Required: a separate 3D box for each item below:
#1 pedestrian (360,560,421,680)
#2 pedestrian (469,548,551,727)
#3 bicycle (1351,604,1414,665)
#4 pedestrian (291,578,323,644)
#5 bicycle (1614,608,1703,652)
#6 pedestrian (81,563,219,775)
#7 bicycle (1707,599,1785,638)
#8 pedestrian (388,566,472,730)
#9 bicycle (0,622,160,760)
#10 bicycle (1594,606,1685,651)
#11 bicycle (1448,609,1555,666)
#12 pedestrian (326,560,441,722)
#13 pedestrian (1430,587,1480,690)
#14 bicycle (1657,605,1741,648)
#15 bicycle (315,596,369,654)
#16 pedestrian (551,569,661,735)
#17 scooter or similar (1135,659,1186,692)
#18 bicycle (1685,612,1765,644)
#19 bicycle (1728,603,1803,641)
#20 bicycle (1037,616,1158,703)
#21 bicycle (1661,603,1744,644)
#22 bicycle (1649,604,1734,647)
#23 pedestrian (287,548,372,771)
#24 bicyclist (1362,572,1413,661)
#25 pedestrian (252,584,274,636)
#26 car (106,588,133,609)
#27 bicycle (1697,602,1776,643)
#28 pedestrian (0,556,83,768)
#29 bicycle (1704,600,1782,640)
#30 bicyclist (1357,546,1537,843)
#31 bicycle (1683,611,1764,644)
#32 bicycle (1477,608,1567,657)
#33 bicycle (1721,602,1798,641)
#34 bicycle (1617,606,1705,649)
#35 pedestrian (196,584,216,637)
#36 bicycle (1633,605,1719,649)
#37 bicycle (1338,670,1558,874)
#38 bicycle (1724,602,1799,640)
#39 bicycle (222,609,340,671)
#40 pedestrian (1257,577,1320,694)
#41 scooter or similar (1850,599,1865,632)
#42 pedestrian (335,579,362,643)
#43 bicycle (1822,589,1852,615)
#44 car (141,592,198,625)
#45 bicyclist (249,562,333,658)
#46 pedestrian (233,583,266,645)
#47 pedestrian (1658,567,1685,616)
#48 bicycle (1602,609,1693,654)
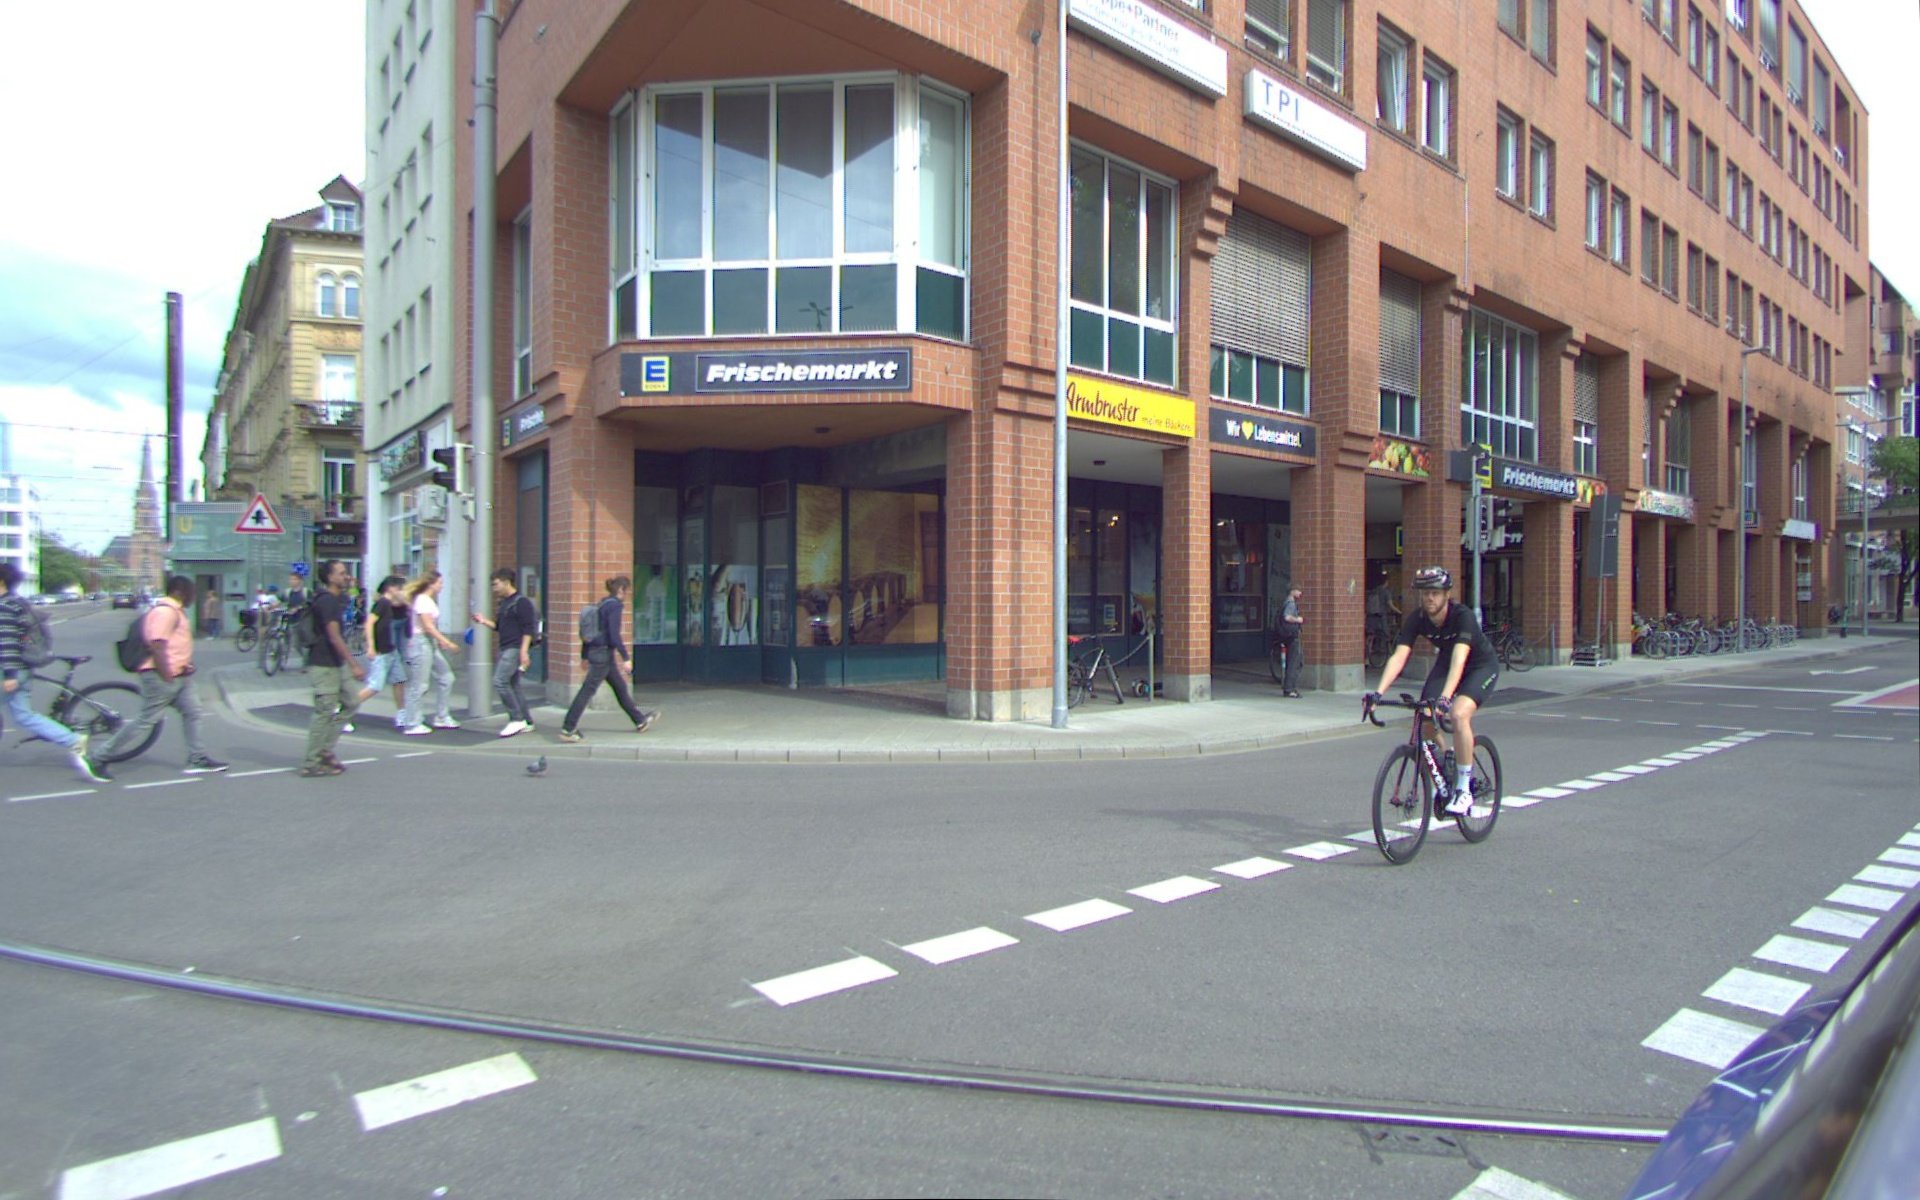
[{"bbox_3d":[-8.855,0.294,15.727,0.693,1.805,0.738,-1,1,-38],"label":"pedestrian"},{"bbox_3d":[-4.823,0.380,10.856,0.683,1.847,0.568,0,0,-39],"label":"pedestrian"},{"bbox_3d":[8.811,0.695,21.062,0.628,1.096,1.724,5,6,42],"label":"bicycle"},{"bbox_3d":[-17.493,0.288,27.128,0.579,1.744,0.521,-1,0,-18],"label":"pedestrian"},{"bbox_3d":[18.228,0.760,26.441,0.525,1.053,1.859,-1,1,-38],"label":"bicycle"},{"bbox_3d":[-6.755,0.538,8.467,0.877,1.672,0.542,0,0,-39],"label":"pedestrian"},{"bbox_3d":[24.639,0.569,31.747,0.525,1.155,1.859,-1,1,-38],"label":"bicycle"},{"bbox_3d":[-5.822,0.497,11.118,0.639,1.709,0.648,-3,2,-39],"label":"pedestrian"},{"bbox_3d":[-8.122,0.788,8.815,1.797,1.124,0.397,-1,1,-38],"label":"bicycle"},{"bbox_3d":[17.196,0.706,25.638,0.498,1.053,1.859,-1,1,-38],"label":"bicycle"},{"bbox_3d":[11.097,0.759,20.778,1.829,1.097,0.630,0,2,1],"label":"bicycle"},{"bbox_3d":[-6.488,0.431,11.391,1.037,1.736,0.648,0,0,-39],"label":"pedestrian"},{"bbox_3d":[8.233,0.627,16.830,0.717,1.652,0.408,-1,2,-31],"label":"pedestrian"},{"bbox_3d":[20.903,0.730,28.662,0.525,1.125,1.859,-1,1,-38],"label":"bicycle"},{"bbox_3d":[-13.788,0.535,22.554,1.800,1.219,0.535,0,0,42],"label":"bicycle"},{"bbox_3d":[-3.631,0.497,10.384,0.905,1.621,0.620,-1,0,-39],"label":"pedestrian"},{"bbox_3d":[2.996,1.121,15.088,0.876,0.424,0.263,0,0,-41],"label":"scooter or similar"},{"bbox_3d":[23.313,0.841,30.870,0.525,0.881,1.859,-1,1,-38],"label":"bicycle"},{"bbox_3d":[26.456,0.705,33.279,0.525,1.155,1.859,-1,1,-38],"label":"bicycle"},{"bbox_3d":[1.903,0.789,13.868,1.666,1.105,0.567,1,1,-35],"label":"bicycle"},{"bbox_3d":[21.412,0.662,29.216,0.525,1.125,1.859,-1,1,-38],"label":"bicycle"},{"bbox_3d":[20.335,0.694,28.171,0.525,1.125,1.859,-1,1,-38],"label":"bicycle"},{"bbox_3d":[-5.382,0.483,8.637,0.551,1.820,0.542,0,0,-39],"label":"pedestrian"},{"bbox_3d":[9.011,0.337,21.343,0.751,1.801,0.622,1,3,1],"label":"bicyclist"},{"bbox_3d":[-23.075,0.332,33.507,0.416,1.706,0.516,0,0,-5],"label":"pedestrian"},{"bbox_3d":[-84.761,-0.119,102.098,1.923,1.928,3.995,-1,-1,-38],"label":"car"},{"bbox_3d":[23.808,0.671,31.052,0.525,1.155,1.859,-1,1,-38],"label":"bicycle"},{"bbox_3d":[-7.813,0.495,8.439,0.713,1.707,0.521,-1,0,-38],"label":"pedestrian"},{"bbox_3d":[24.249,0.604,31.369,0.525,1.155,1.859,-1,1,-38],"label":"bicycle"},{"bbox_3d":[2.908,0.513,6.041,0.832,1.624,0.613,-1,-1,-39],"label":"bicyclist"},{"bbox_3d":[22.903,0.817,30.382,0.525,0.904,1.859,-1,1,-38],"label":"bicycle"},{"bbox_3d":[13.339,0.767,24.037,1.829,1.097,0.485,0,2,1],"label":"bicycle"},{"bbox_3d":[25.584,0.676,32.403,0.525,1.155,1.859,-1,1,-38],"label":"bicycle"},{"bbox_3d":[18.663,0.707,26.974,0.525,1.053,1.859,-1,1,-38],"label":"bicycle"},{"bbox_3d":[-24.597,0.340,32.998,0.506,1.706,0.424,0,0,-38],"label":"pedestrian"},{"bbox_3d":[19.609,0.730,27.739,0.525,1.125,1.859,-1,1,-38],"label":"bicycle"},{"bbox_3d":[2.972,0.958,6.085,1.716,1.013,0.488,2,0,-40],"label":"bicycle"},{"bbox_3d":[25.945,0.668,32.786,0.525,1.155,1.859,-1,1,-38],"label":"bicycle"},{"bbox_3d":[-11.408,0.648,17.073,0.535,0.962,1.801,0,1,12],"label":"bicycle"},{"bbox_3d":[5.009,0.512,15.417,0.686,1.717,0.647,-2,2,-41],"label":"pedestrian"},{"bbox_3d":[35.135,0.604,39.617,0.904,1.273,0.272,-1,0,-38],"label":"scooter or similar"},{"bbox_3d":[-16.899,0.295,27.975,0.530,1.744,0.521,-1,0,-18],"label":"pedestrian"},{"bbox_3d":[48.046,0.100,55.427,2.926,1.407,0.746,-1,0,-39],"label":"bicycle"},{"bbox_3d":[-33.481,0.322,42.808,1.805,1.282,4.149,-1,1,-39],"label":"car"},{"bbox_3d":[-11.298,0.157,17.103,0.735,1.578,0.943,0,0,13],"label":"bicyclist"},{"bbox_3d":[-19.299,0.369,27.508,0.703,1.647,0.793,0,0,-34],"label":"pedestrian"},{"bbox_3d":[26.460,-0.331,37.653,0.766,1.799,0.614,-1,0,-38],"label":"pedestrian"},{"bbox_3d":[17.674,0.795,26.053,0.525,1.053,1.859,-1,1,-38],"label":"bicycle"}]
